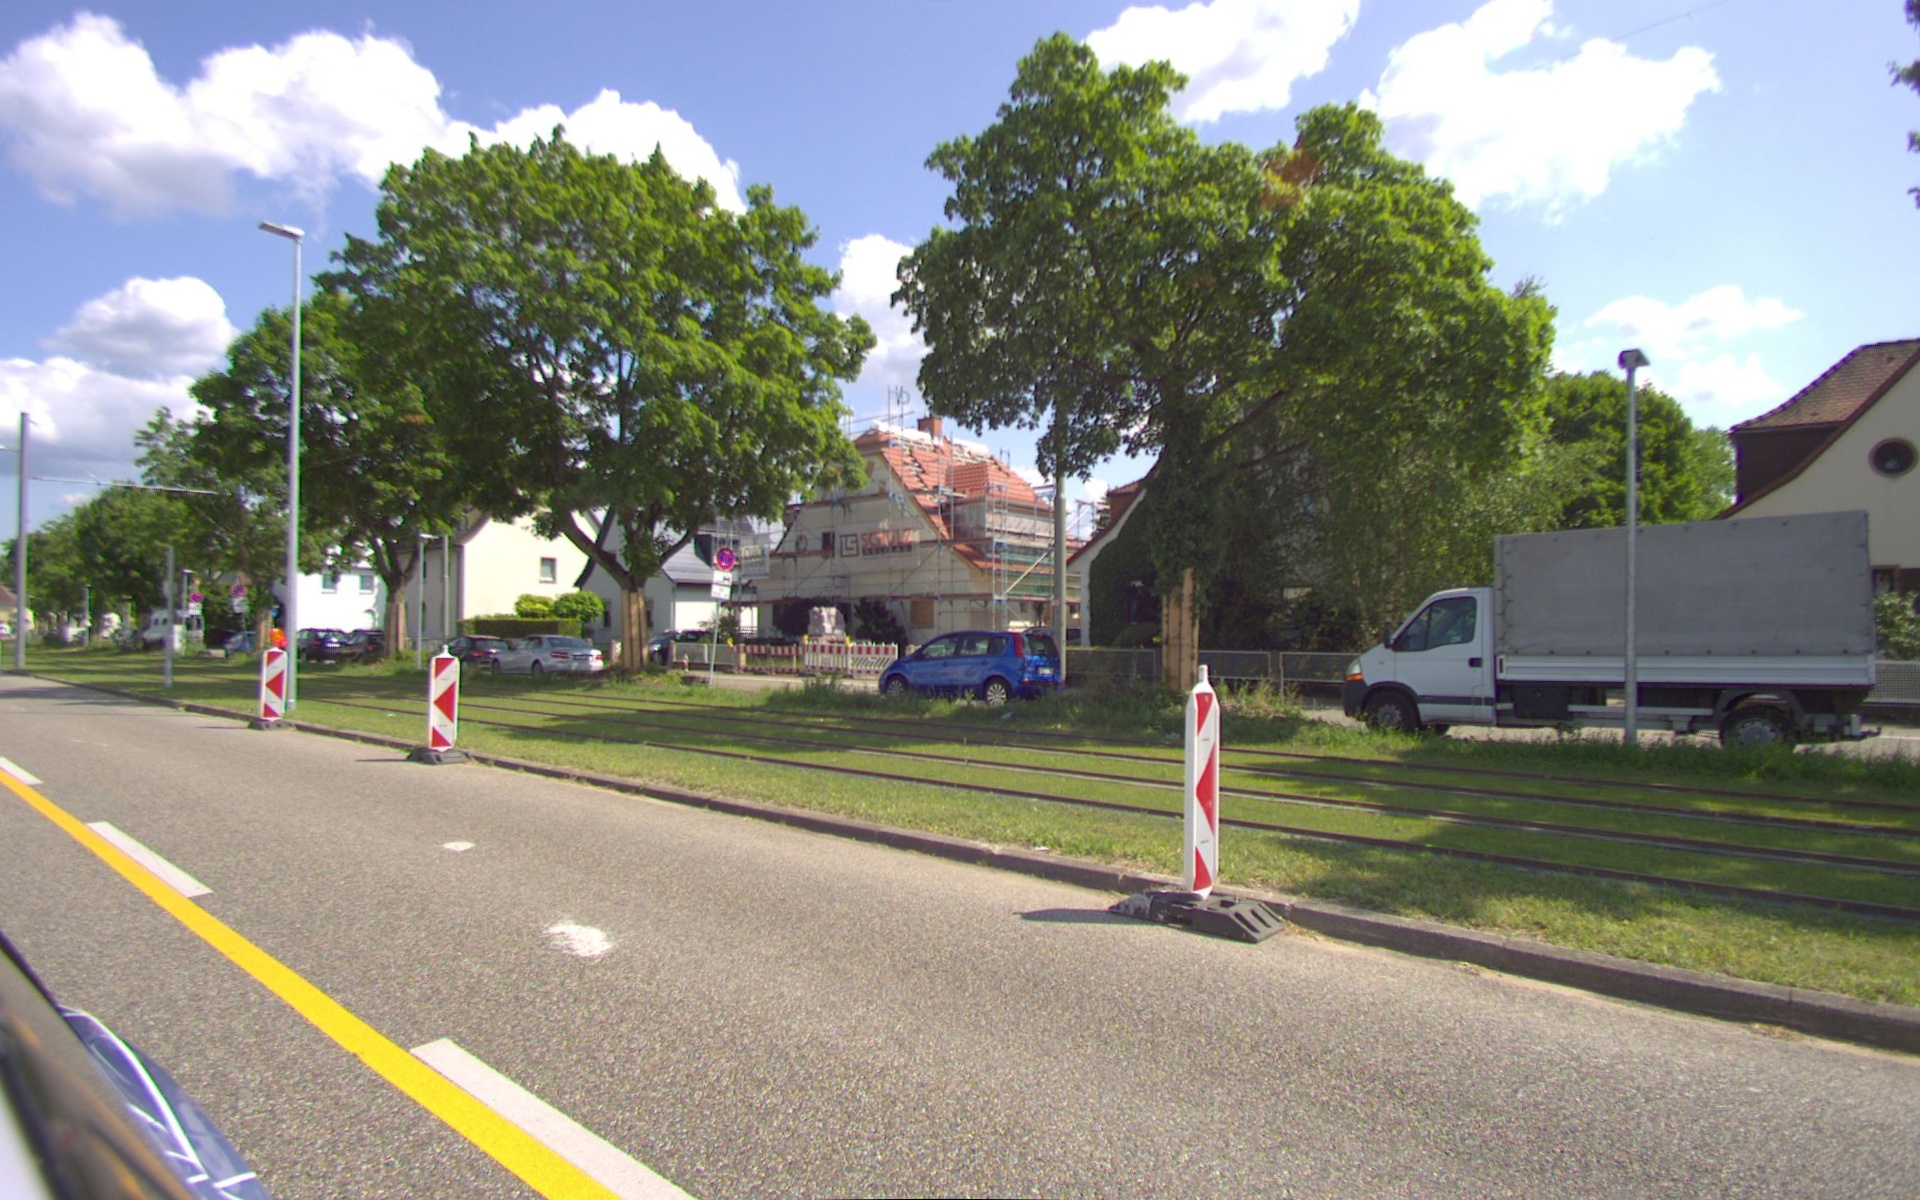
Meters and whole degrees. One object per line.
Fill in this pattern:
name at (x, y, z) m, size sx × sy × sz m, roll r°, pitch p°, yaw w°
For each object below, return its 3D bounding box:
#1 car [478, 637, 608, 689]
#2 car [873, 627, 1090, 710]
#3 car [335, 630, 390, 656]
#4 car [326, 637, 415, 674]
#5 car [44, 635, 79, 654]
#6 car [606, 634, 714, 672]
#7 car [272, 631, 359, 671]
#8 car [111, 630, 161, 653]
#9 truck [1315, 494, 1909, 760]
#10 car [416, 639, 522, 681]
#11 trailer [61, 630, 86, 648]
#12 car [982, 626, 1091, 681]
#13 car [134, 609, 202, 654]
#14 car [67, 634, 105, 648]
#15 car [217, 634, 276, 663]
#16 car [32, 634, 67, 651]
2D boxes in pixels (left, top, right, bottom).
car at (-13.301, 1.959, 32.124) m, size 4.937 × 1.494 × 1.786 m, roll -1°, pitch -3°, yaw 42°
car at (0.379, 1.300, 20.237) m, size 3.996 × 1.464 × 1.974 m, roll -1°, pitch -3°, yaw 39°
car at (-38.689, 2.786, 65.511) m, size 3.998 × 1.589 × 1.883 m, roll -1°, pitch -3°, yaw 41°
car at (-24.803, 2.333, 42.537) m, size 3.998 × 1.450 × 1.973 m, roll -1°, pitch -4°, yaw 41°
car at (-83.440, 4.134, 93.928) m, size 4.099 × 1.590 × 1.885 m, roll -3°, pitch -7°, yaw 42°
car at (-12.612, 2.191, 42.684) m, size 1.981 × 1.412 × 3.945 m, roll -1°, pitch -1°, yaw 41°
car at (-29.540, 2.293, 46.334) m, size 4.385 × 1.704 × 1.974 m, roll -1°, pitch -3°, yaw 38°
car at (-57.746, 2.916, 70.872) m, size 4.484 × 1.517 × 1.972 m, roll -1°, pitch -3°, yaw 41°
truck at (8.166, 0.440, 13.432) m, size 6.272 × 2.789 × 1.973 m, roll -2°, pitch -6°, yaw 41°
car at (-17.300, 2.101, 35.610) m, size 3.850 × 1.328 × 1.973 m, roll -1°, pitch -5°, yaw 41°
trailer at (-76.148, 3.345, 86.943) m, size 2.280 × 1.530 × 1.286 m, roll -1°, pitch -3°, yaw 41°
car at (2.595, 1.765, 33.730) m, size 1.872 × 1.697 × 3.610 m, roll -1°, pitch -3°, yaw 40°
car at (-50.461, 2.015, 64.449) m, size 6.455 × 2.751 × 1.974 m, roll -2°, pitch -3°, yaw 39°
car at (-71.971, 3.395, 83.314) m, size 3.834 × 1.101 × 1.762 m, roll -1°, pitch -3°, yaw 41°
car at (-37.357, 2.512, 52.966) m, size 3.889 × 1.447 × 1.734 m, roll -1°, pitch -3°, yaw 43°
car at (-87.570, 4.079, 97.334) m, size 4.321 × 1.551 × 1.972 m, roll -1°, pitch -3°, yaw 42°
